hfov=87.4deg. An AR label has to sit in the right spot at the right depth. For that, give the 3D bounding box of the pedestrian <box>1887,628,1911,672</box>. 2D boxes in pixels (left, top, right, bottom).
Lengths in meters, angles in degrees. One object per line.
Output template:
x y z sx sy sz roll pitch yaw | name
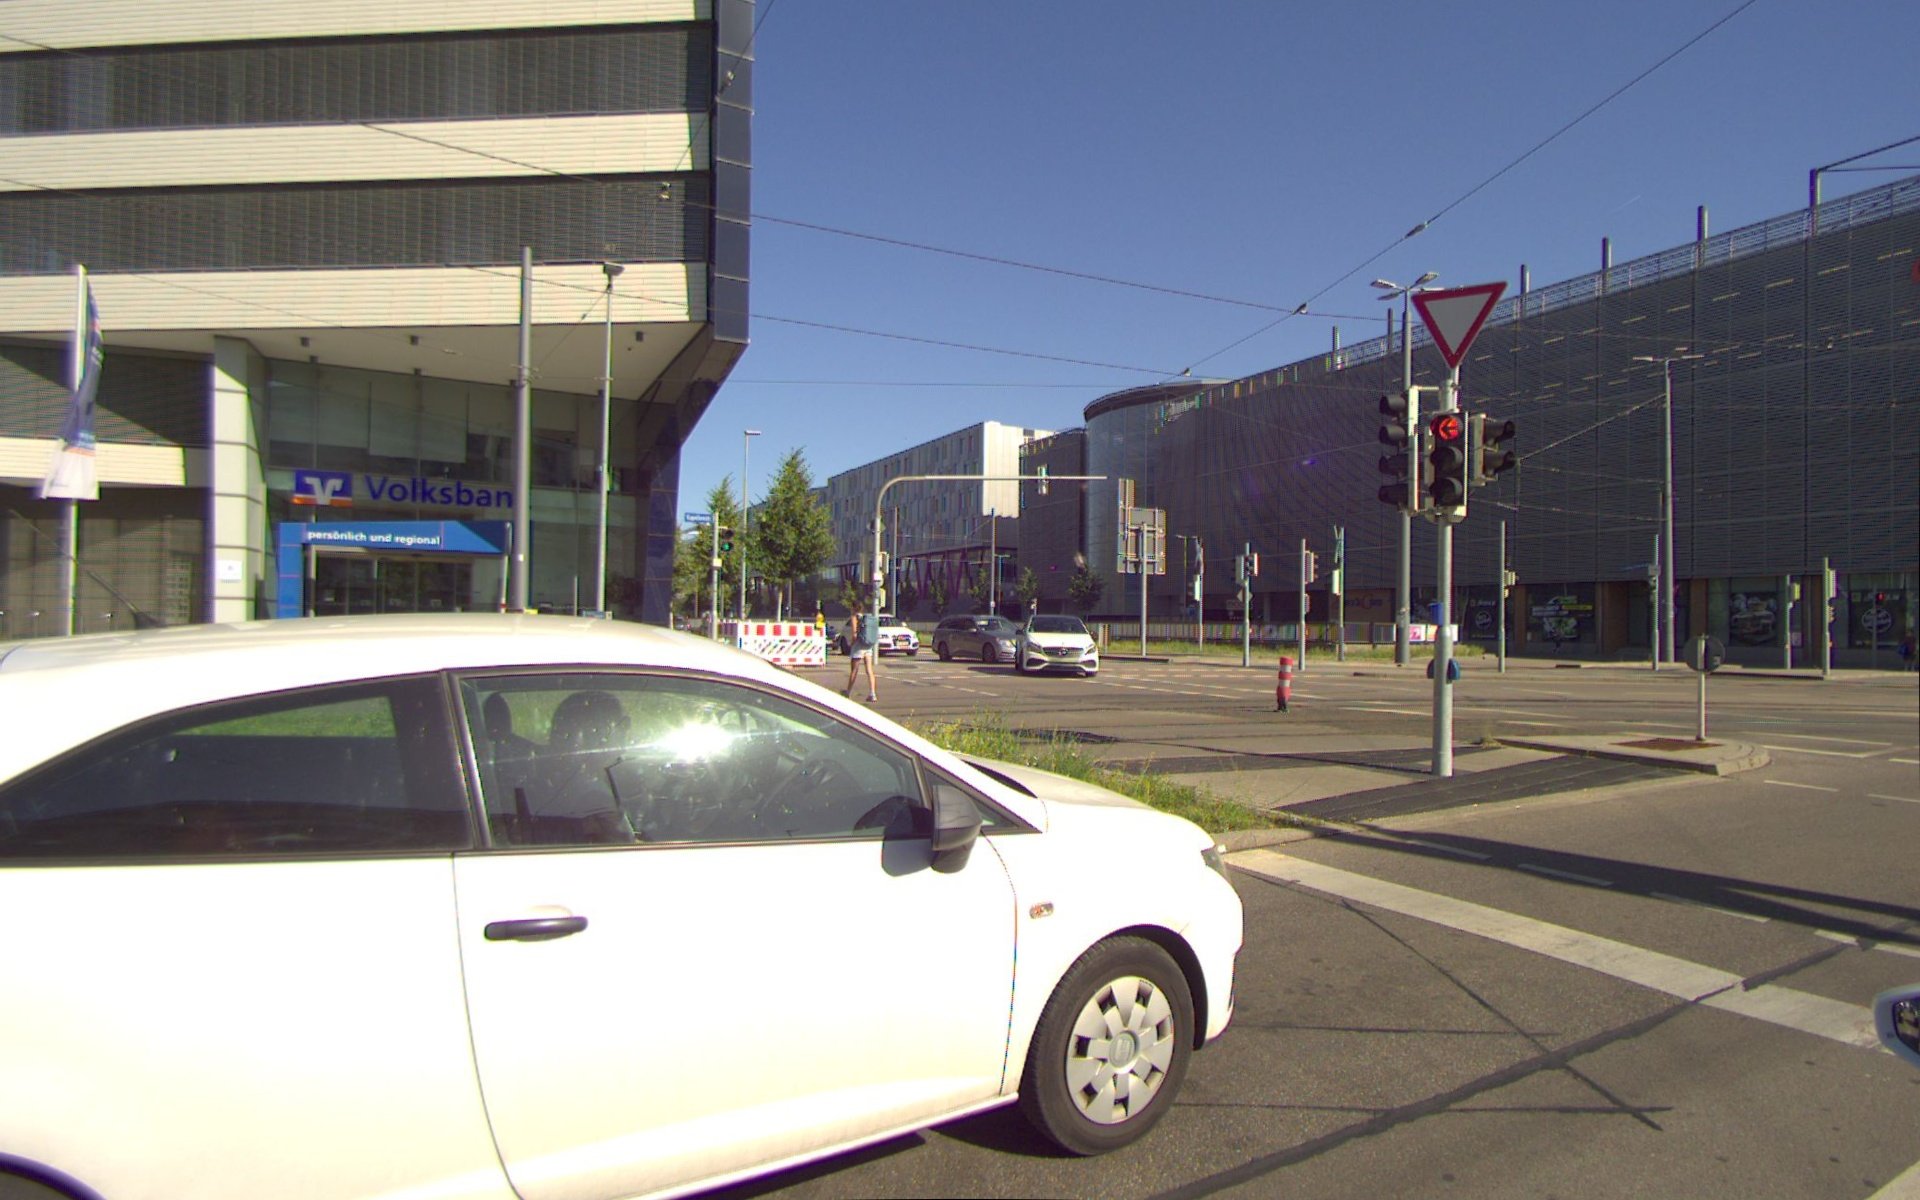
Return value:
39.963 2.117 42.734 0.687 1.821 0.726 -2 -3 44 | pedestrian

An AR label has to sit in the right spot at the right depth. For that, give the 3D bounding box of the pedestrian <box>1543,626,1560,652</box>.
37.365 2.482 63.467 0.584 1.622 0.661 2 0 -11 | pedestrian

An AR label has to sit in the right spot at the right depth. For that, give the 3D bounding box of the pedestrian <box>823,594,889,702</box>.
-1.731 0.772 16.694 0.734 1.719 0.798 1 1 -40 | pedestrian

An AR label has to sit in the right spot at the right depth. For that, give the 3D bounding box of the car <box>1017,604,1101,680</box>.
2.507 0.973 24.613 1.788 1.668 4.185 1 -1 9 | car

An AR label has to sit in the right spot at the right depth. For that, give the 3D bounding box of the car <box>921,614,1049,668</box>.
0.691 1.242 31.847 1.688 1.593 4.829 1 -1 -32 | car

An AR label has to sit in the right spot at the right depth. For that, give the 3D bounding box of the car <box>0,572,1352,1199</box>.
-0.963 0.736 2.795 3.977 1.460 1.723 2 1 -31 | car

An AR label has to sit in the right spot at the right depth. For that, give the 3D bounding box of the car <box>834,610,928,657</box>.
-3.183 1.308 39.529 1.914 1.729 4.647 1 -2 -30 | car

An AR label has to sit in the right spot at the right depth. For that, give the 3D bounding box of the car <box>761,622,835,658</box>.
-7.612 1.821 46.818 1.812 1.481 4.645 1 0 -31 | car
